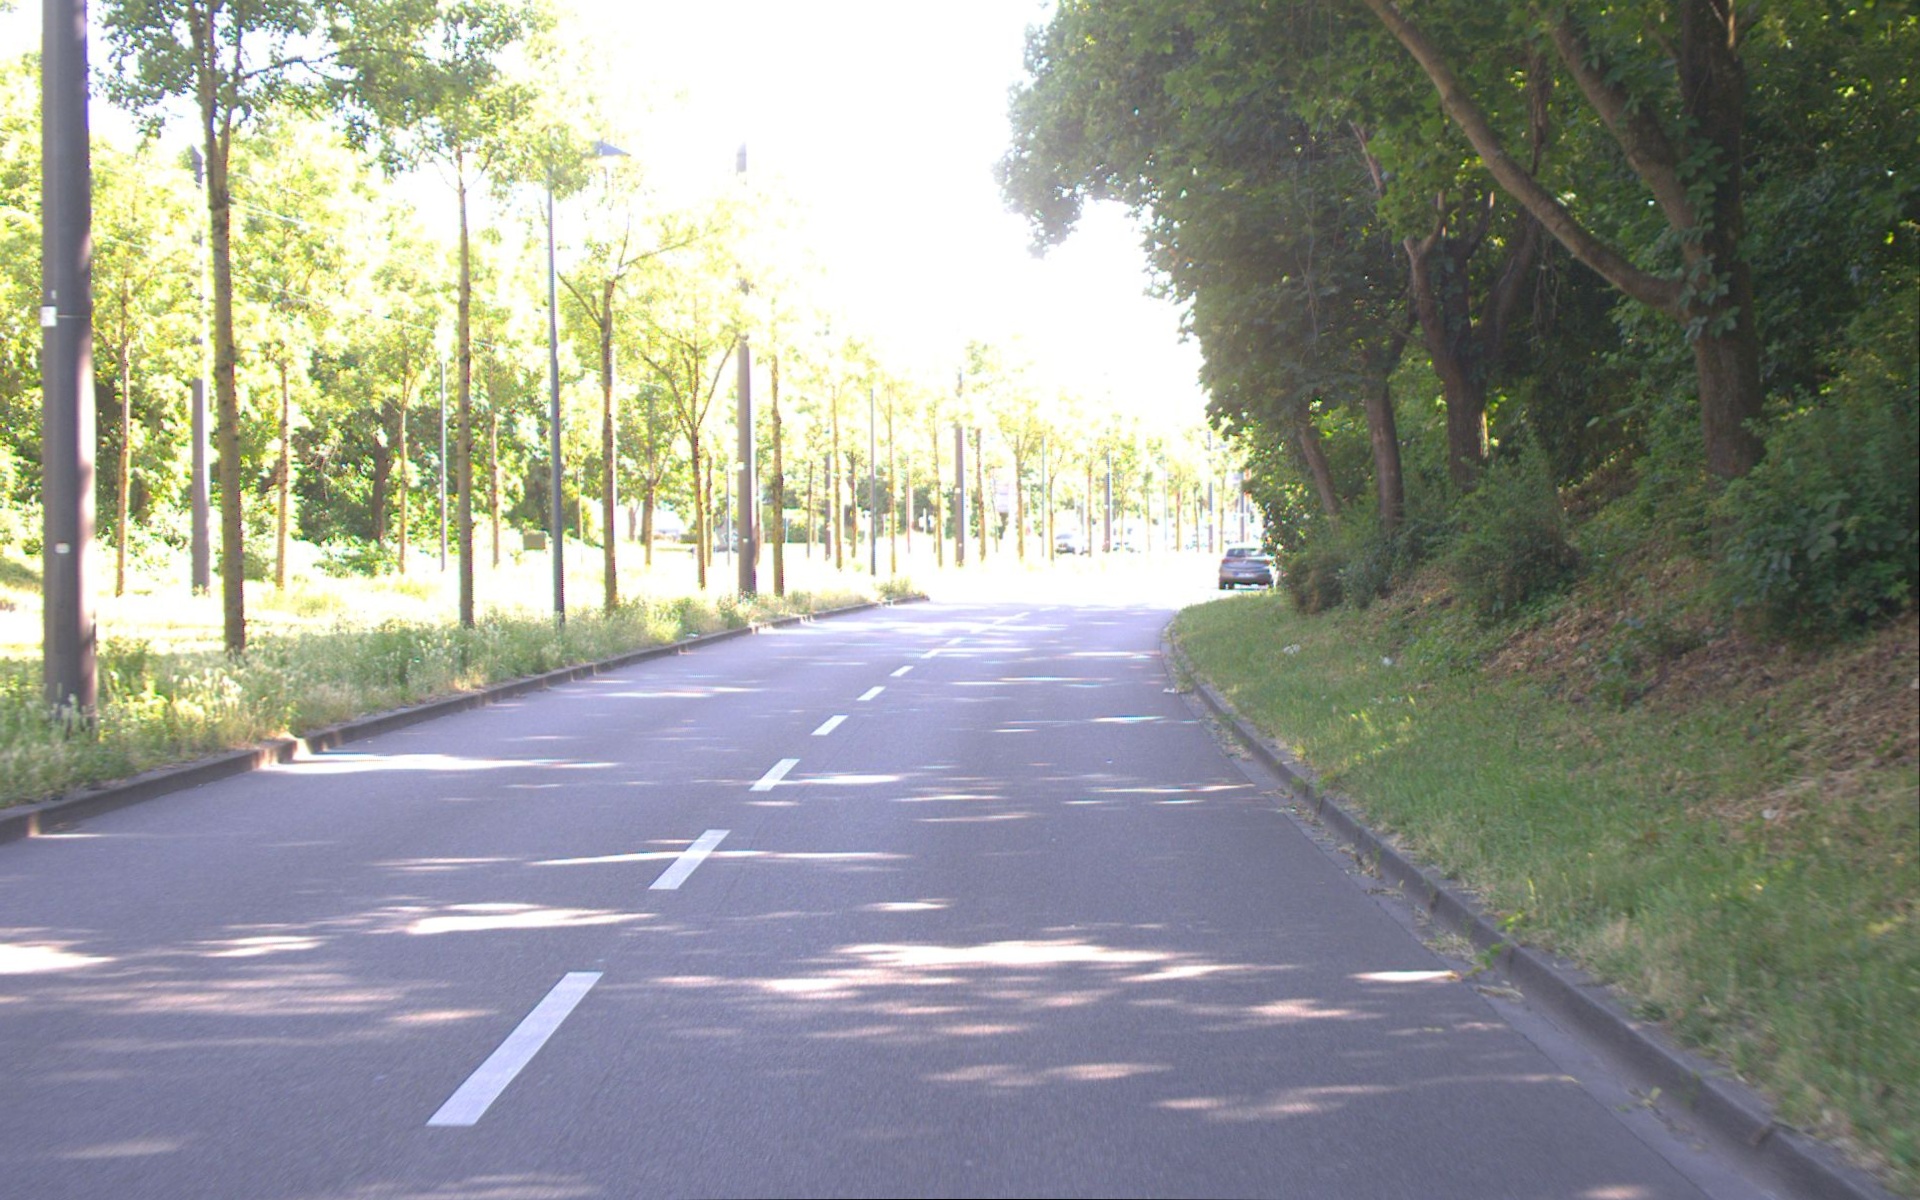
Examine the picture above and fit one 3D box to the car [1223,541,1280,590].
[{"bbox_3d":[9.227,-1.097,108.620,1.634,1.493,4.234,1,1,7],"label":"car"}]
